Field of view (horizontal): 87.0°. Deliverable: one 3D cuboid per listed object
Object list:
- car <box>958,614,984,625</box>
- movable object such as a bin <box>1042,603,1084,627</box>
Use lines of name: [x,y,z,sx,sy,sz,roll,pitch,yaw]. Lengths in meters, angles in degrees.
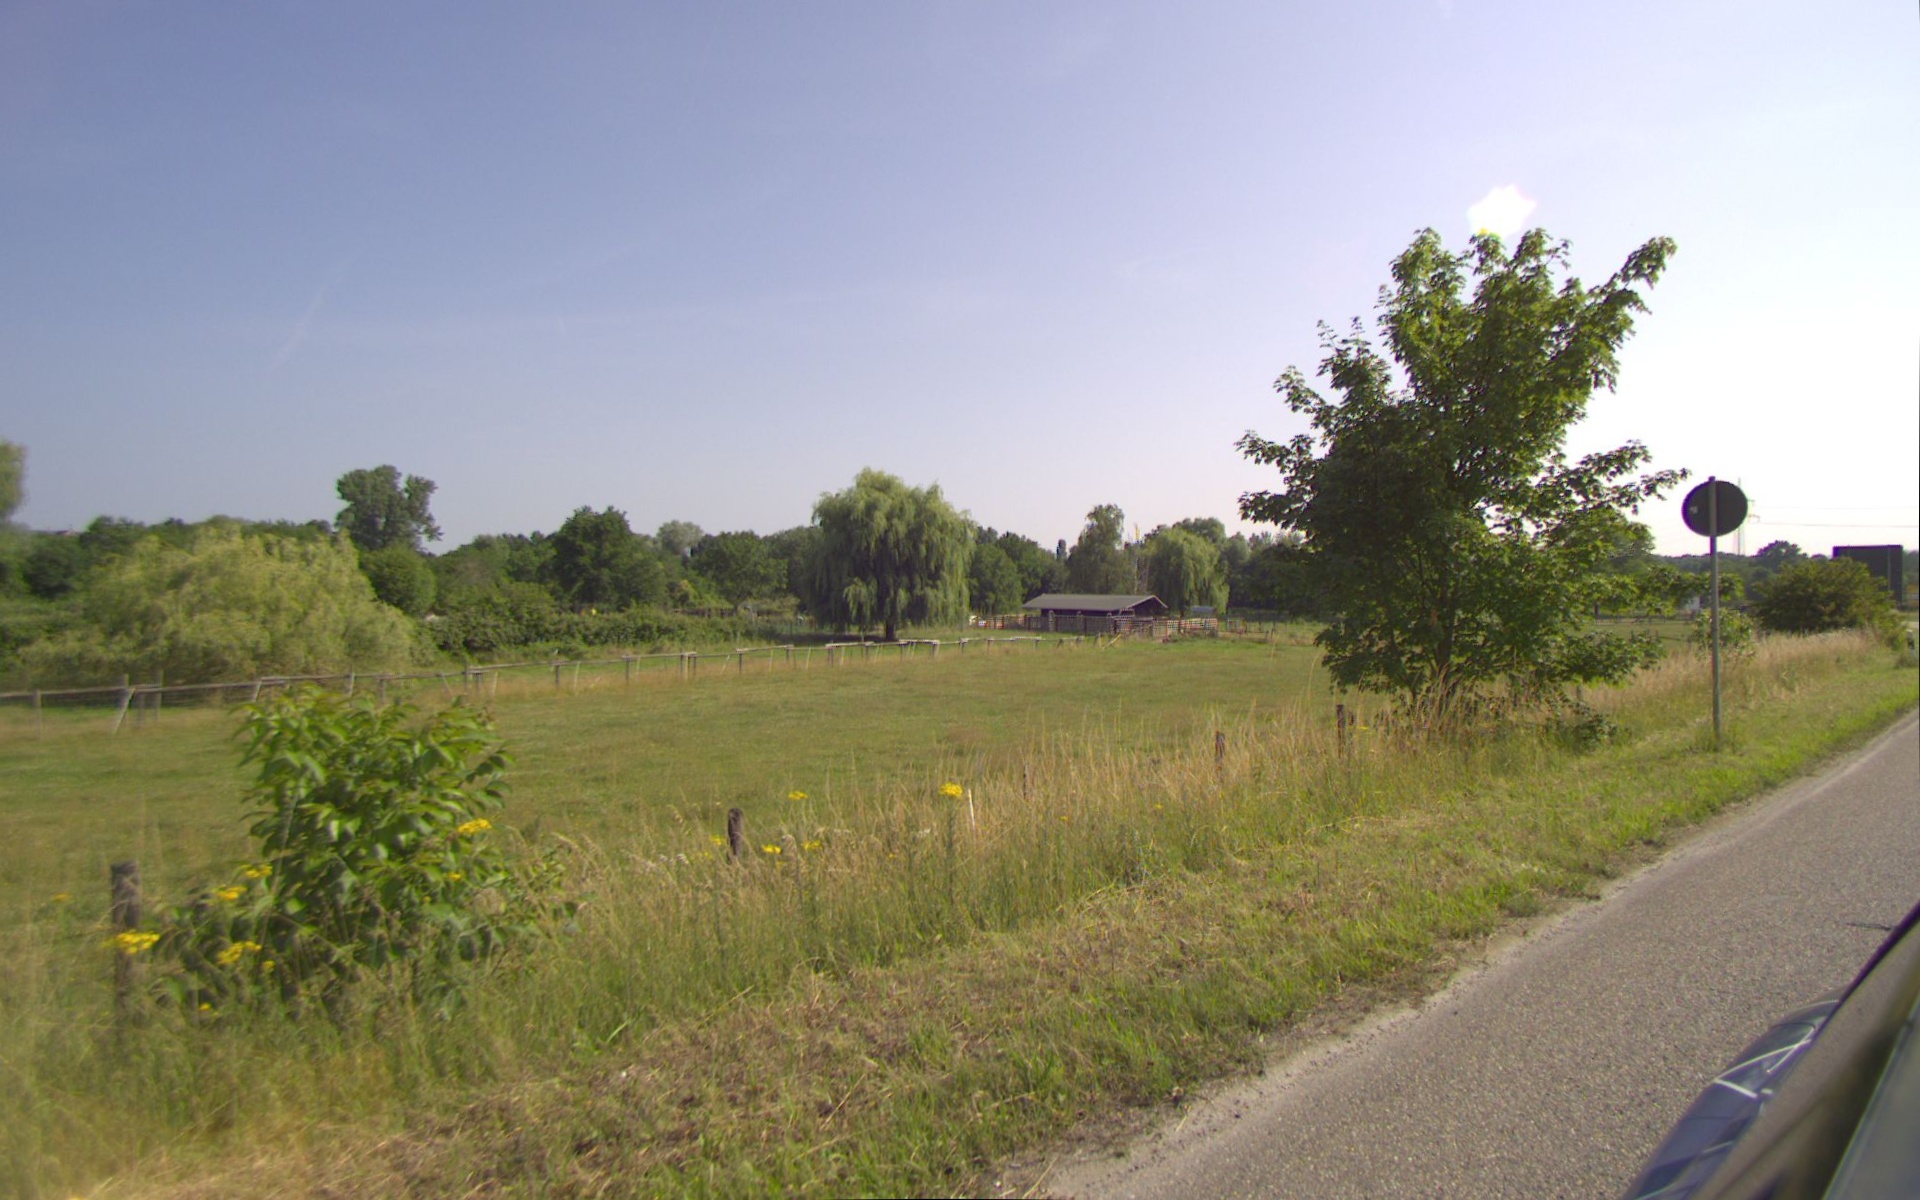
car: [1.144,1.936,101.403,1.219,1.018,3.016,-1,-1,33]
movable object such as a bin: [9.724,1.407,95.380,1.990,2.222,4.103,-3,-2,40]
